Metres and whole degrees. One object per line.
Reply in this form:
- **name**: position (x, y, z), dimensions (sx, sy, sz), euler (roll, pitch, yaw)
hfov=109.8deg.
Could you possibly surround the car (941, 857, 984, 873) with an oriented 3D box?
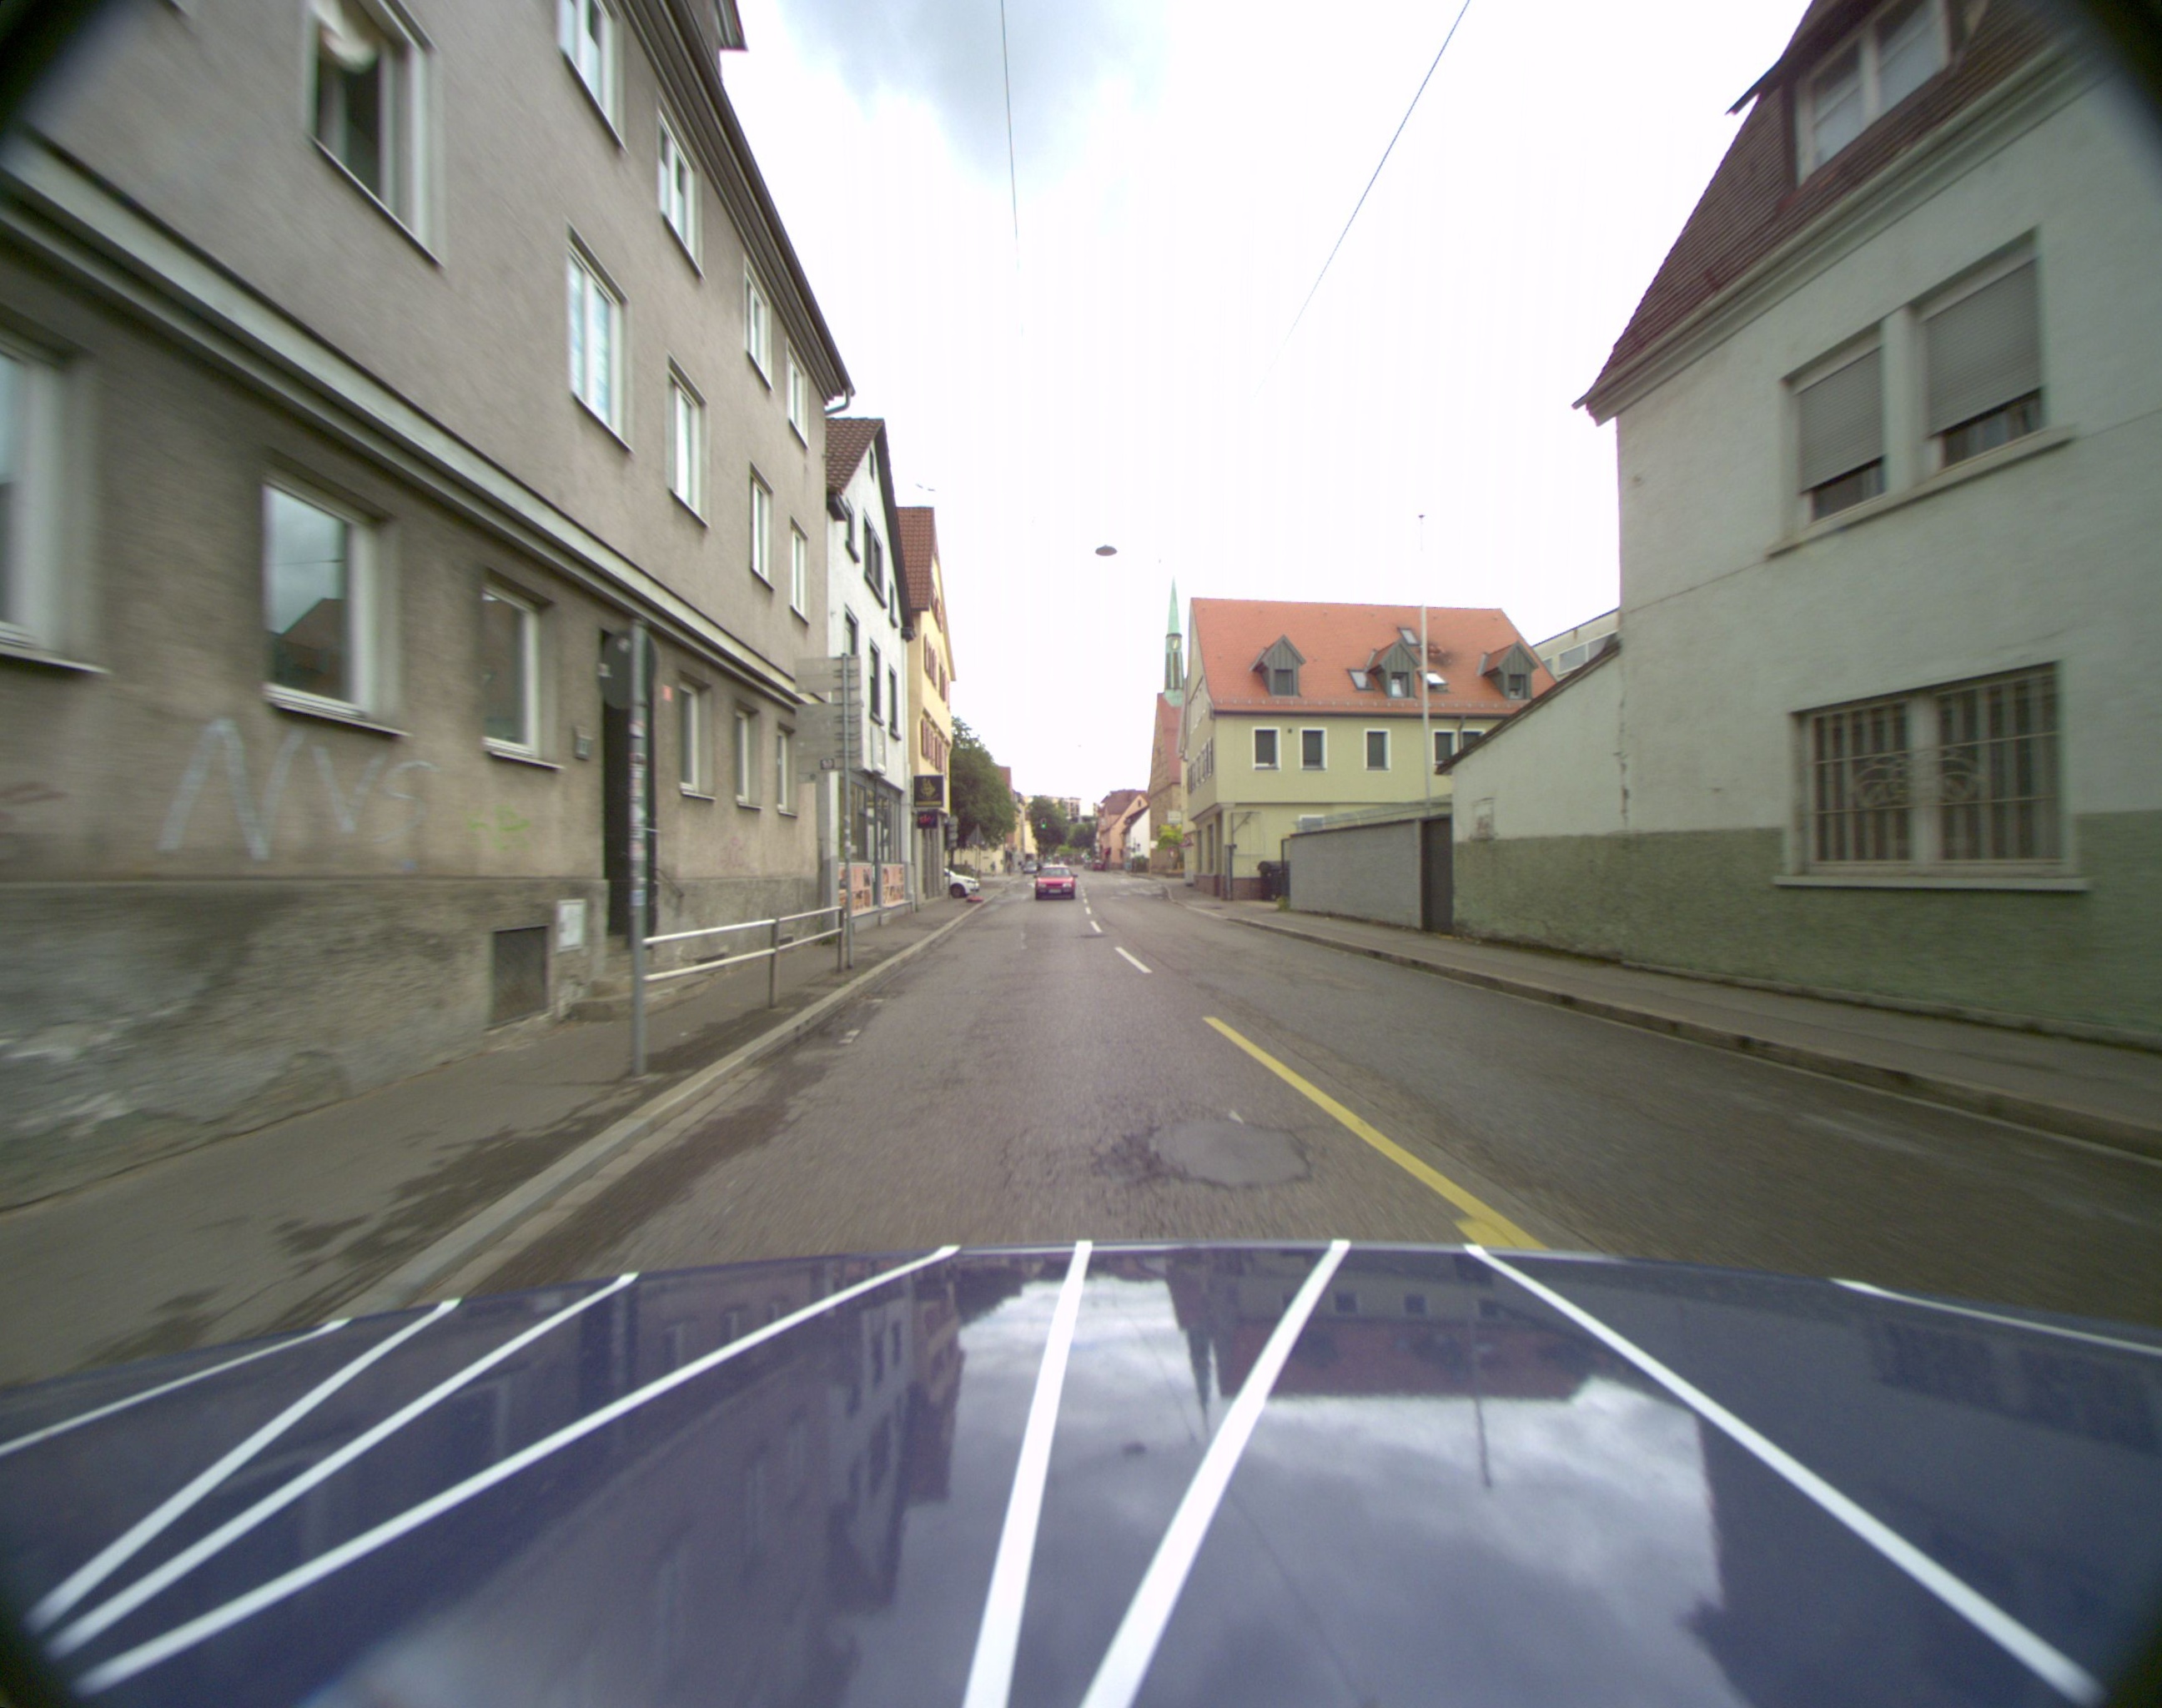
- **car**: position (-12.199, 1.094, 78.479), dimensions (3.997, 1.455, 2.000), euler (-2, 1, 0)

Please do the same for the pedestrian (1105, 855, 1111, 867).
- **pedestrian**: position (4.513, 1.176, 128.643), dimensions (0.837, 2.001, 0.845), euler (-2, 0, -3)

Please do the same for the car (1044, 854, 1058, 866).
- **car**: position (-4.492, 0.908, 115.353), dimensions (1.999, 1.668, 3.999), euler (-2, 1, -2)

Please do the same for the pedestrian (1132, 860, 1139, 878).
- **pedestrian**: position (6.627, 1.842, 92.207), dimensions (0.758, 2.109, 0.783), euler (-2, 0, -1)

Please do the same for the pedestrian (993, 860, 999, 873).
- **pedestrian**: position (-9.209, 1.372, 82.131), dimensions (0.599, 1.435, 0.772), euler (-1, 1, -1)

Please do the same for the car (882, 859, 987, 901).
- **car**: position (-6.694, 1.157, 35.026), dimensions (4.465, 1.777, 1.999), euler (-1, 1, -3)

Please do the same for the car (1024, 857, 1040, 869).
- **car**: position (-6.478, 1.189, 101.079), dimensions (2.034, 1.546, 3.999), euler (-1, 0, -2)

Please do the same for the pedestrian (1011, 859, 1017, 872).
- **pedestrian**: position (-7.580, 1.312, 85.798), dimensions (0.600, 1.435, 0.771), euler (-1, 1, -5)

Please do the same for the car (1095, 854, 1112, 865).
- **car**: position (3.428, 0.812, 117.844), dimensions (2.213, 1.668, 4.497), euler (-1, 0, -3)

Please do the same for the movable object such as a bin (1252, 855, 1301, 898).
- **movable object such as a bin**: position (7.008, 0.804, 27.272), dimensions (1.312, 1.467, 1.099), euler (-2, 0, -11)

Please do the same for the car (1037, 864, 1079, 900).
- **car**: position (-0.966, 1.184, 32.834), dimensions (1.685, 1.418, 4.022), euler (-1, -1, -1)

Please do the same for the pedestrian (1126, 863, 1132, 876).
- **pedestrian**: position (5.833, 1.873, 92.110), dimensions (0.637, 1.596, 0.711), euler (-1, 1, -1)

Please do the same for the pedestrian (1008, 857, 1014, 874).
- **pedestrian**: position (-8.720, 1.392, 94.887), dimensions (0.660, 2.102, 0.646), euler (0, -1, -2)
